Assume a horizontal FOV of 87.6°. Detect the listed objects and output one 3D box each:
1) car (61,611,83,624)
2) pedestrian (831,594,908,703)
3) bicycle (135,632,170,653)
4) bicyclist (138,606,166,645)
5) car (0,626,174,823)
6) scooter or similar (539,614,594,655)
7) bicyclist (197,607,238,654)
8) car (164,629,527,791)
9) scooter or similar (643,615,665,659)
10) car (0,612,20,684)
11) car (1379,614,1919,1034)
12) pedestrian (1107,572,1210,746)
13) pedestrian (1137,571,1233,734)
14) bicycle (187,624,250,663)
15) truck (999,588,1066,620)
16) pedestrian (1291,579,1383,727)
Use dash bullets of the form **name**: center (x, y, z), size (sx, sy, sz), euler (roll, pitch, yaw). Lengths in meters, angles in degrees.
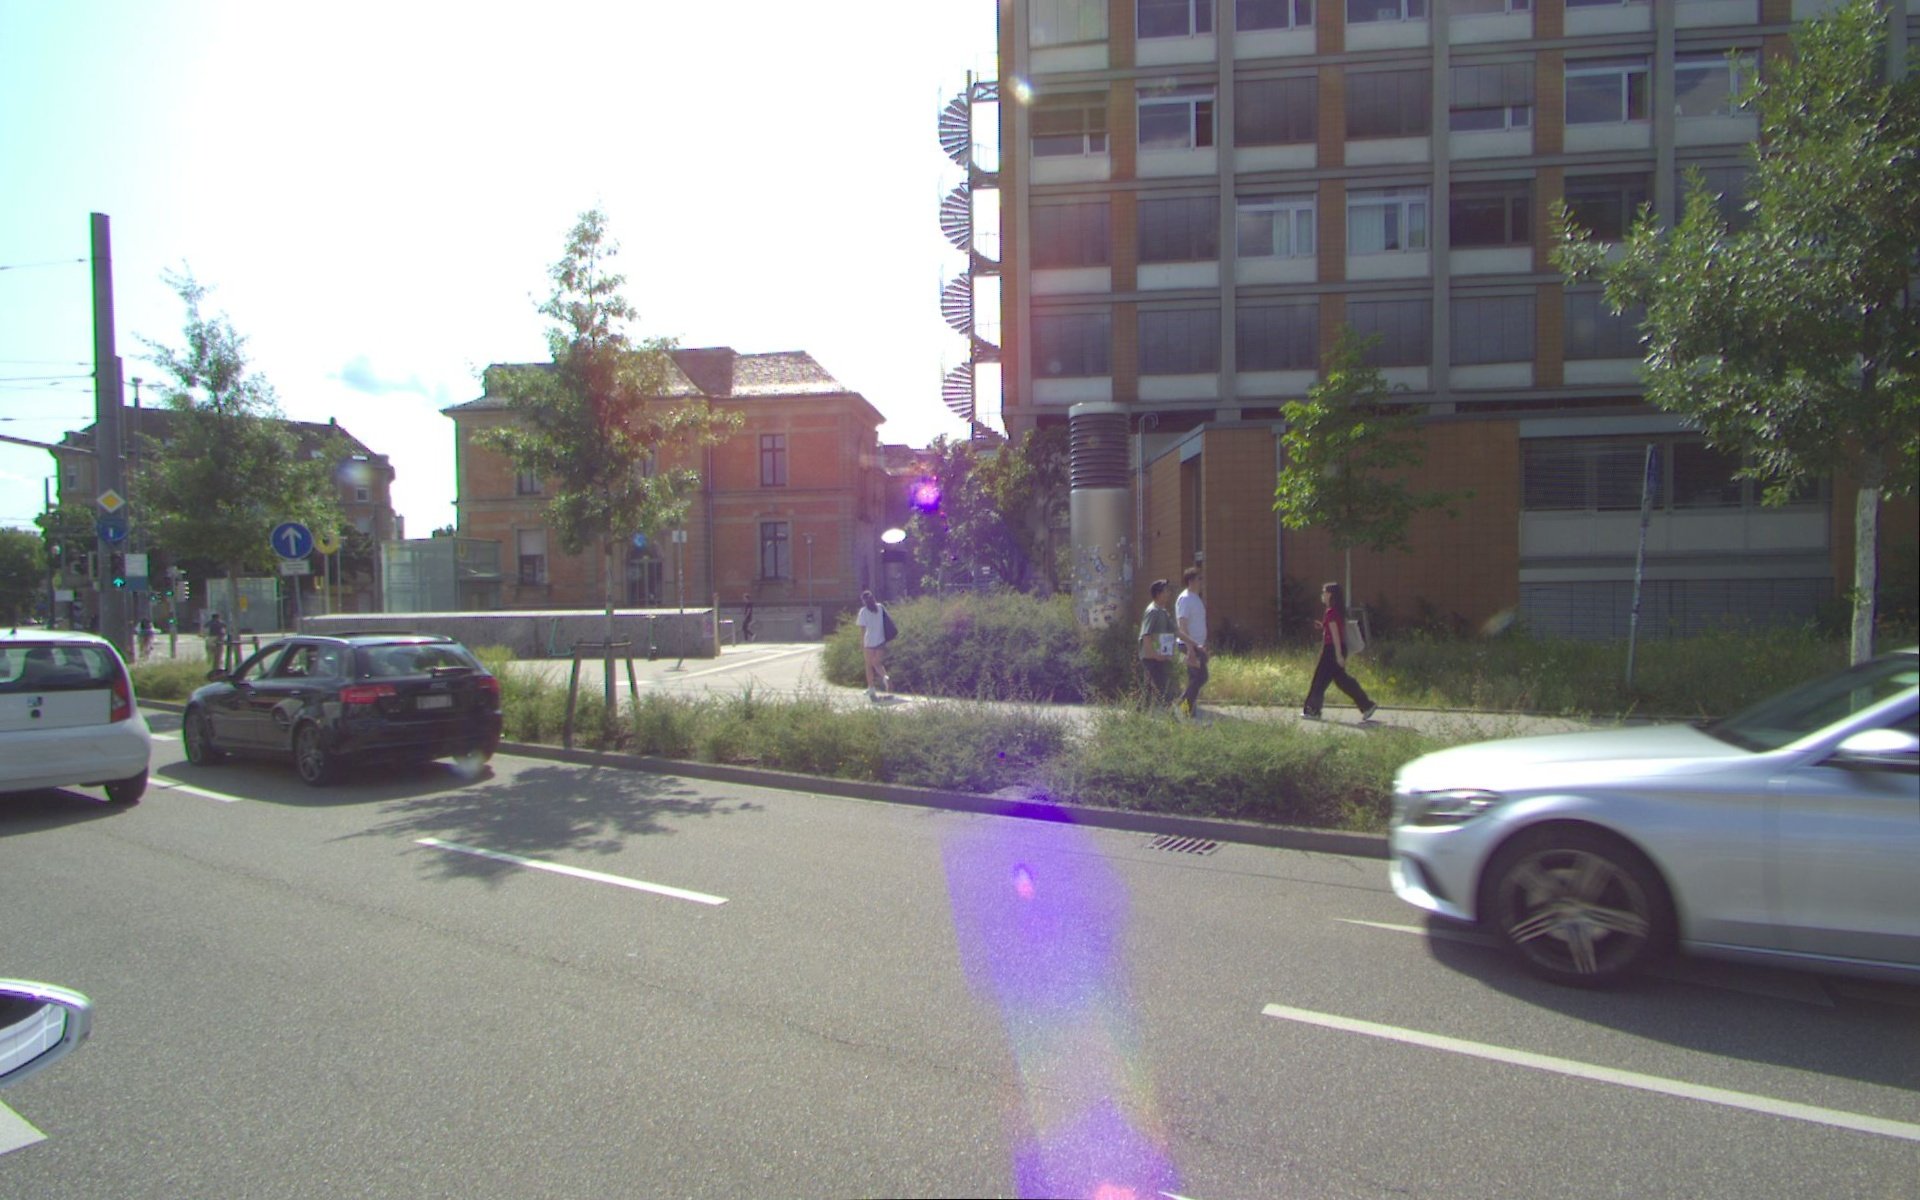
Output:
- **car**: center (-116.082, 2.280, 130.942), size (1.820, 1.673, 3.971), euler (0, -1, -37)
- **pedestrian**: center (-1.438, 0.742, 15.876), size (0.609, 1.645, 1.086), euler (-4, 3, -43)
- **bicycle**: center (-30.860, 1.612, 38.263), size (1.599, 0.786, 0.583), euler (-1, 0, 34)
- **bicyclist**: center (-30.908, 0.985, 38.305), size (0.763, 1.470, 0.606), euler (0, 0, 34)
- **car**: center (-8.745, 0.977, 8.820), size (3.943, 1.441, 1.646), euler (-1, 0, 32)
- **scooter or similar**: center (-11.233, 0.989, 28.597), size (1.420, 1.133, 0.465), euler (-1, 2, 13)
- **bicyclist**: center (-20.551, 0.834, 27.724), size (0.912, 1.237, 0.632), euler (0, 3, 37)
- **car**: center (-6.596, 1.037, 10.633), size (4.075, 1.390, 1.695), euler (-2, -1, 33)
- **scooter or similar**: center (-8.321, 0.981, 27.220), size (0.457, 1.119, 1.316), euler (-1, 1, -13)
- **car**: center (-24.173, 1.164, 24.043), size (3.952, 1.673, 1.829), euler (-2, -1, 39)
- **car**: center (4.353, 0.795, 4.068), size (4.689, 1.474, 1.928), euler (-1, -1, 31)
- **pedestrian**: center (2.150, 0.615, 10.792), size (0.875, 1.778, 0.741), euler (-1, 3, 26)
- **pedestrian**: center (2.584, 0.576, 11.446), size (0.875, 1.770, 0.741), euler (-1, 3, 27)
- **bicycle**: center (-20.589, 1.187, 27.789), size (1.935, 0.983, 0.843), euler (-1, 3, 36)
- **truck**: center (4.934, 0.287, 67.479), size (4.304, 2.039, 2.000), euler (0, -2, 11)
- **pedestrian**: center (4.398, 0.598, 11.681), size (0.877, 1.645, 0.612), euler (-1, 3, 32)
